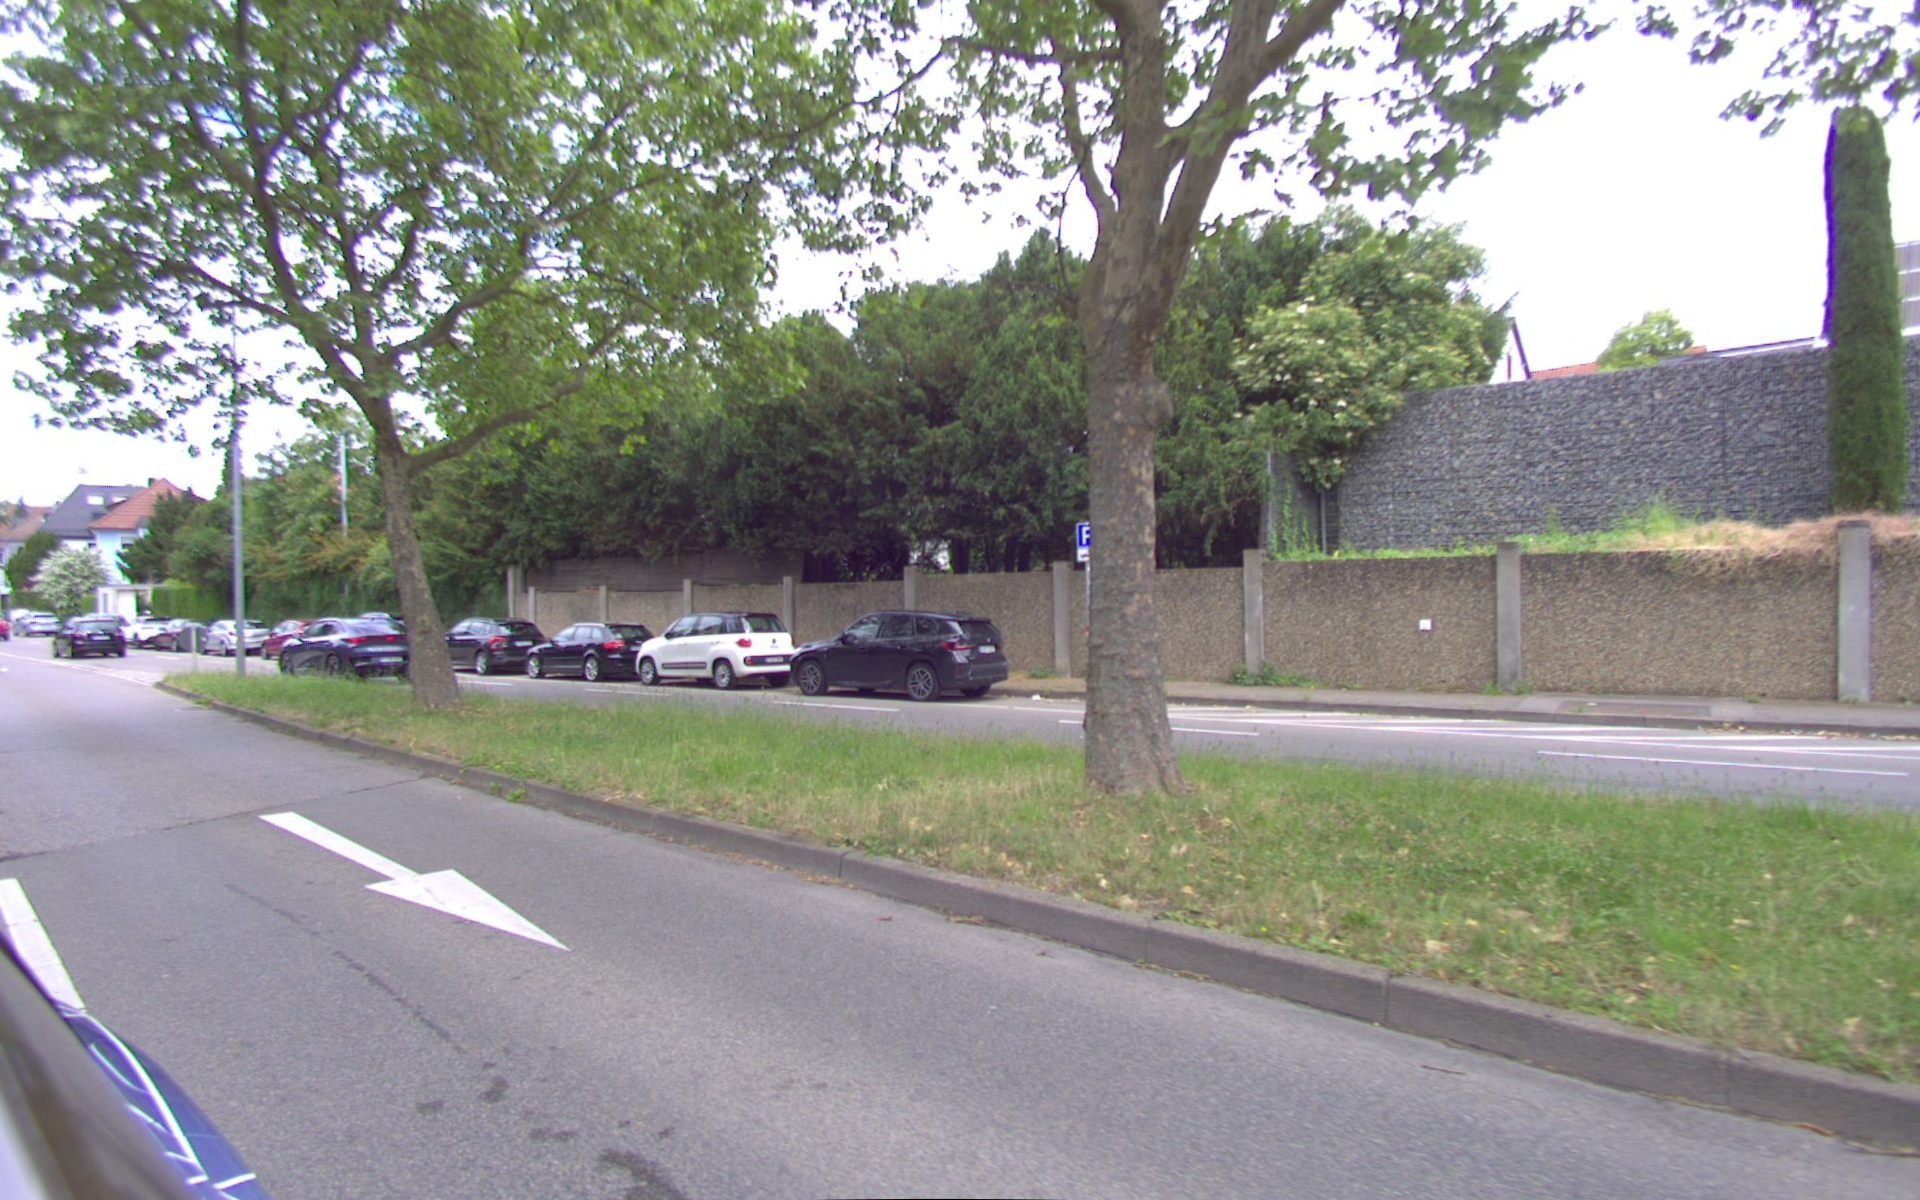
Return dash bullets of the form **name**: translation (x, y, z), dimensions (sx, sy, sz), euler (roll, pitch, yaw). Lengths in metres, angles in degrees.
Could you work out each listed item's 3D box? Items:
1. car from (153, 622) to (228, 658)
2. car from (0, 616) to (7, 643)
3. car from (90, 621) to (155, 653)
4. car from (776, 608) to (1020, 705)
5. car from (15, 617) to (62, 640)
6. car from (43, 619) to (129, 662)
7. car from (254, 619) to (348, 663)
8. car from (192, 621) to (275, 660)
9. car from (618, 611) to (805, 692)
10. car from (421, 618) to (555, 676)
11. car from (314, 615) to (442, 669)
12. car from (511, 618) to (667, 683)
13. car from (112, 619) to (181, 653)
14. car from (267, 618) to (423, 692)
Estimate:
- **car**: translation (-33.863, 1.750, 44.491), dimensions (3.825, 1.516, 1.666), euler (-2, -2, 37)
- **car**: translation (-54.326, 1.639, 56.051), dimensions (3.825, 1.516, 1.666), euler (-2, -2, 37)
- **car**: translation (-41.643, 1.845, 50.284), dimensions (3.825, 1.516, 1.666), euler (-2, -2, 37)
- **car**: translation (-1.226, 1.008, 18.905), dimensions (4.451, 1.628, 1.776), euler (-1, -2, 35)
- **car**: translation (-56.076, 1.733, 61.561), dimensions (3.830, 1.339, 1.664), euler (-2, 0, 42)
- **car**: translation (-34.301, 1.576, 39.699), dimensions (3.908, 1.628, 1.821), euler (-2, -2, 38)
- **car**: translation (-23.840, 1.478, 36.602), dimensions (3.825, 1.516, 1.666), euler (-2, -2, 37)
- **car**: translation (-29.296, 1.608, 40.794), dimensions (3.825, 1.516, 1.666), euler (-2, -2, 37)
- **car**: translation (-5.547, 1.100, 22.432), dimensions (4.210, 1.628, 1.775), euler (-2, -2, 37)
- **car**: translation (-13.400, 1.296, 28.635), dimensions (4.032, 1.516, 1.775), euler (-2, -2, 37)
- **car**: translation (-18.680, 1.330, 32.460), dimensions (4.022, 1.615, 1.779), euler (-1, 0, 30)
- **car**: translation (-9.327, 1.226, 25.334), dimensions (4.032, 1.516, 1.775), euler (-2, -2, 37)
- **car**: translation (-38.428, 1.684, 47.775), dimensions (3.825, 1.516, 1.666), euler (-2, -2, 37)
- **car**: translation (-14.881, 1.274, 24.388), dimensions (4.582, 1.628, 1.774), euler (-2, -2, 39)
